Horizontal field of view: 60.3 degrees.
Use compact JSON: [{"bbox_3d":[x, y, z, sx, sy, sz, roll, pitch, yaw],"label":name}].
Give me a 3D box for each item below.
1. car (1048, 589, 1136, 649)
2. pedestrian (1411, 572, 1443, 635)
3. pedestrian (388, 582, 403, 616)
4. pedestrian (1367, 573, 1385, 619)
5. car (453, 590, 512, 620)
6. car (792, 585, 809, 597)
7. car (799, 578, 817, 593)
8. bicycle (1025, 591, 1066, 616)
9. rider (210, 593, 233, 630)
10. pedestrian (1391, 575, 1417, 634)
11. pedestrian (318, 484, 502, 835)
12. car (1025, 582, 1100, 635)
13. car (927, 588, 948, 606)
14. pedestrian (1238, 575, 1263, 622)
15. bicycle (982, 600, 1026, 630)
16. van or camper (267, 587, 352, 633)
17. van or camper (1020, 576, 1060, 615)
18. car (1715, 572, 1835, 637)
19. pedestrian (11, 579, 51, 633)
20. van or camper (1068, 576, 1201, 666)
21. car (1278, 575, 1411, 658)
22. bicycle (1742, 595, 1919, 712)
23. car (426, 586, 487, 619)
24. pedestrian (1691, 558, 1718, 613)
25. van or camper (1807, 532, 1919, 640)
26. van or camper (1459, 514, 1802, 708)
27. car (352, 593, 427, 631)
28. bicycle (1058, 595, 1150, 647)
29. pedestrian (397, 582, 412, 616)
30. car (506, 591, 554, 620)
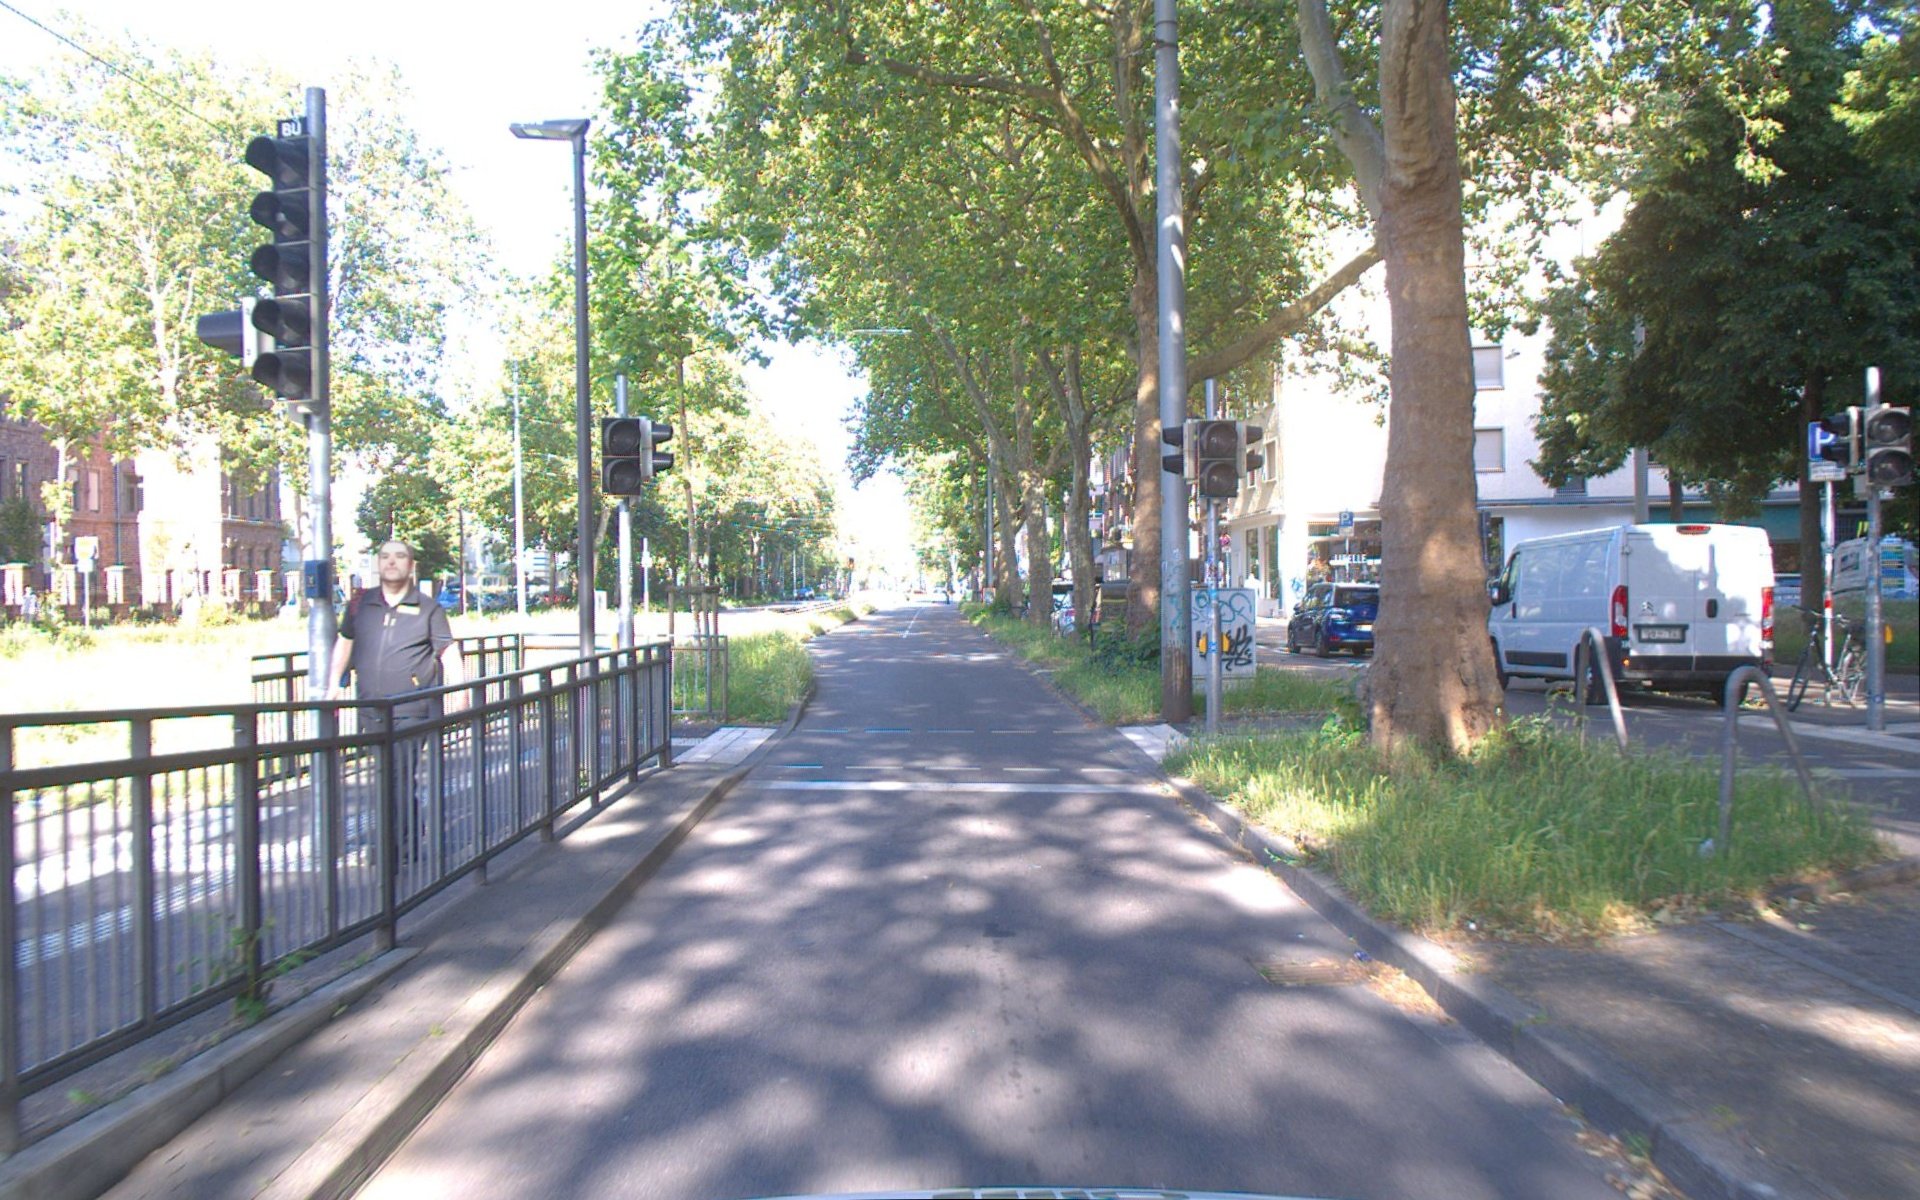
[{"bbox_3d":[3.274,0.433,41.813,1.718,1.422,5.025,0,0,-1],"label":"car"},{"bbox_3d":[12.585,0.092,44.596,0.665,1.680,0.906,0,0,6],"label":"pedestrian"},{"bbox_3d":[-34.228,-0.042,100.311,0.700,2.049,0.626,-1,0,-1],"label":"pedestrian"},{"bbox_3d":[15.262,-0.141,60.698,0.579,1.678,0.725,-1,0,10],"label":"pedestrian"},{"bbox_3d":[-27.626,0.251,95.818,1.952,1.643,4.422,-1,1,3],"label":"car"},{"bbox_3d":[-21.321,-1.171,221.421,1.759,1.534,4.338,-3,0,0],"label":"car"},{"bbox_3d":[-21.437,-2.037,232.961,1.953,1.903,4.872,-2,1,0],"label":"car"},{"bbox_3d":[4.603,0.177,88.861,2.120,1.317,0.983,0,0,-1],"label":"bicycle"},{"bbox_3d":[-33.776,0.522,75.616,0.713,1.673,0.686,-1,0,-1],"label":"rider"},{"bbox_3d":[13.574,0.135,50.562,0.653,1.758,0.717,-1,0,27],"label":"pedestrian"},{"bbox_3d":[-2.792,0.287,8.467,0.698,1.710,0.772,0,0,-3],"label":"pedestrian"},{"bbox_3d":[3.348,0.247,54.862,1.865,1.664,4.820,-1,0,-4],"label":"car"},{"bbox_3d":[-2.188,-0.282,158.265,1.980,1.691,3.999,0,0,-2],"label":"car"},{"bbox_3d":[10.905,-0.049,62.192,0.779,1.734,0.724,-1,0,-1],"label":"pedestrian"},{"bbox_3d":[1.614,0.530,60.376,1.560,1.077,0.404,-1,0,6],"label":"bicycle"},{"bbox_3d":[-27.026,0.382,68.875,1.954,1.819,4.430,-1,0,-3],"label":"van or camper"},{"bbox_3d":[4.563,-0.270,94.833,1.797,2.134,4.772,2,0,-3],"label":"van or camper"},{"bbox_3d":[21.815,0.099,44.422,1.951,1.656,4.393,-1,0,13],"label":"car"},{"bbox_3d":[-33.660,0.223,59.945,0.882,1.932,0.942,-1,0,0],"label":"pedestrian"},{"bbox_3d":[3.255,0.374,31.264,1.477,1.615,2.826,0,0,-18],"label":"van or camper"},{"bbox_3d":[8.793,0.350,38.291,1.782,1.772,5.166,-1,0,-1],"label":"car"},{"bbox_3d":[10.017,0.593,19.021,1.573,1.285,0.962,-1,0,-6],"label":"bicycle"},{"bbox_3d":[-27.459,0.122,90.327,1.731,1.749,4.422,-1,1,3],"label":"car"},{"bbox_3d":[25.312,-0.489,56.225,0.706,1.840,0.690,-1,0,13],"label":"pedestrian"},{"bbox_3d":[24.300,-0.371,43.830,2.101,2.682,5.592,-1,0,14],"label":"van or camper"},{"bbox_3d":[8.930,0.118,22.755,2.244,2.326,5.821,0,0,-1],"label":"van or camper"},{"bbox_3d":[-27.430,0.543,79.673,1.953,1.678,4.827,-1,1,0],"label":"car"},{"bbox_3d":[3.262,0.467,37.596,2.028,1.144,0.676,0,0,-2],"label":"bicycle"},{"bbox_3d":[-33.714,-0.054,100.433,0.700,2.049,0.626,-1,0,-1],"label":"pedestrian"},{"bbox_3d":[-27.722,0.333,106.810,2.067,1.840,4.736,-1,1,-3],"label":"car"}]
